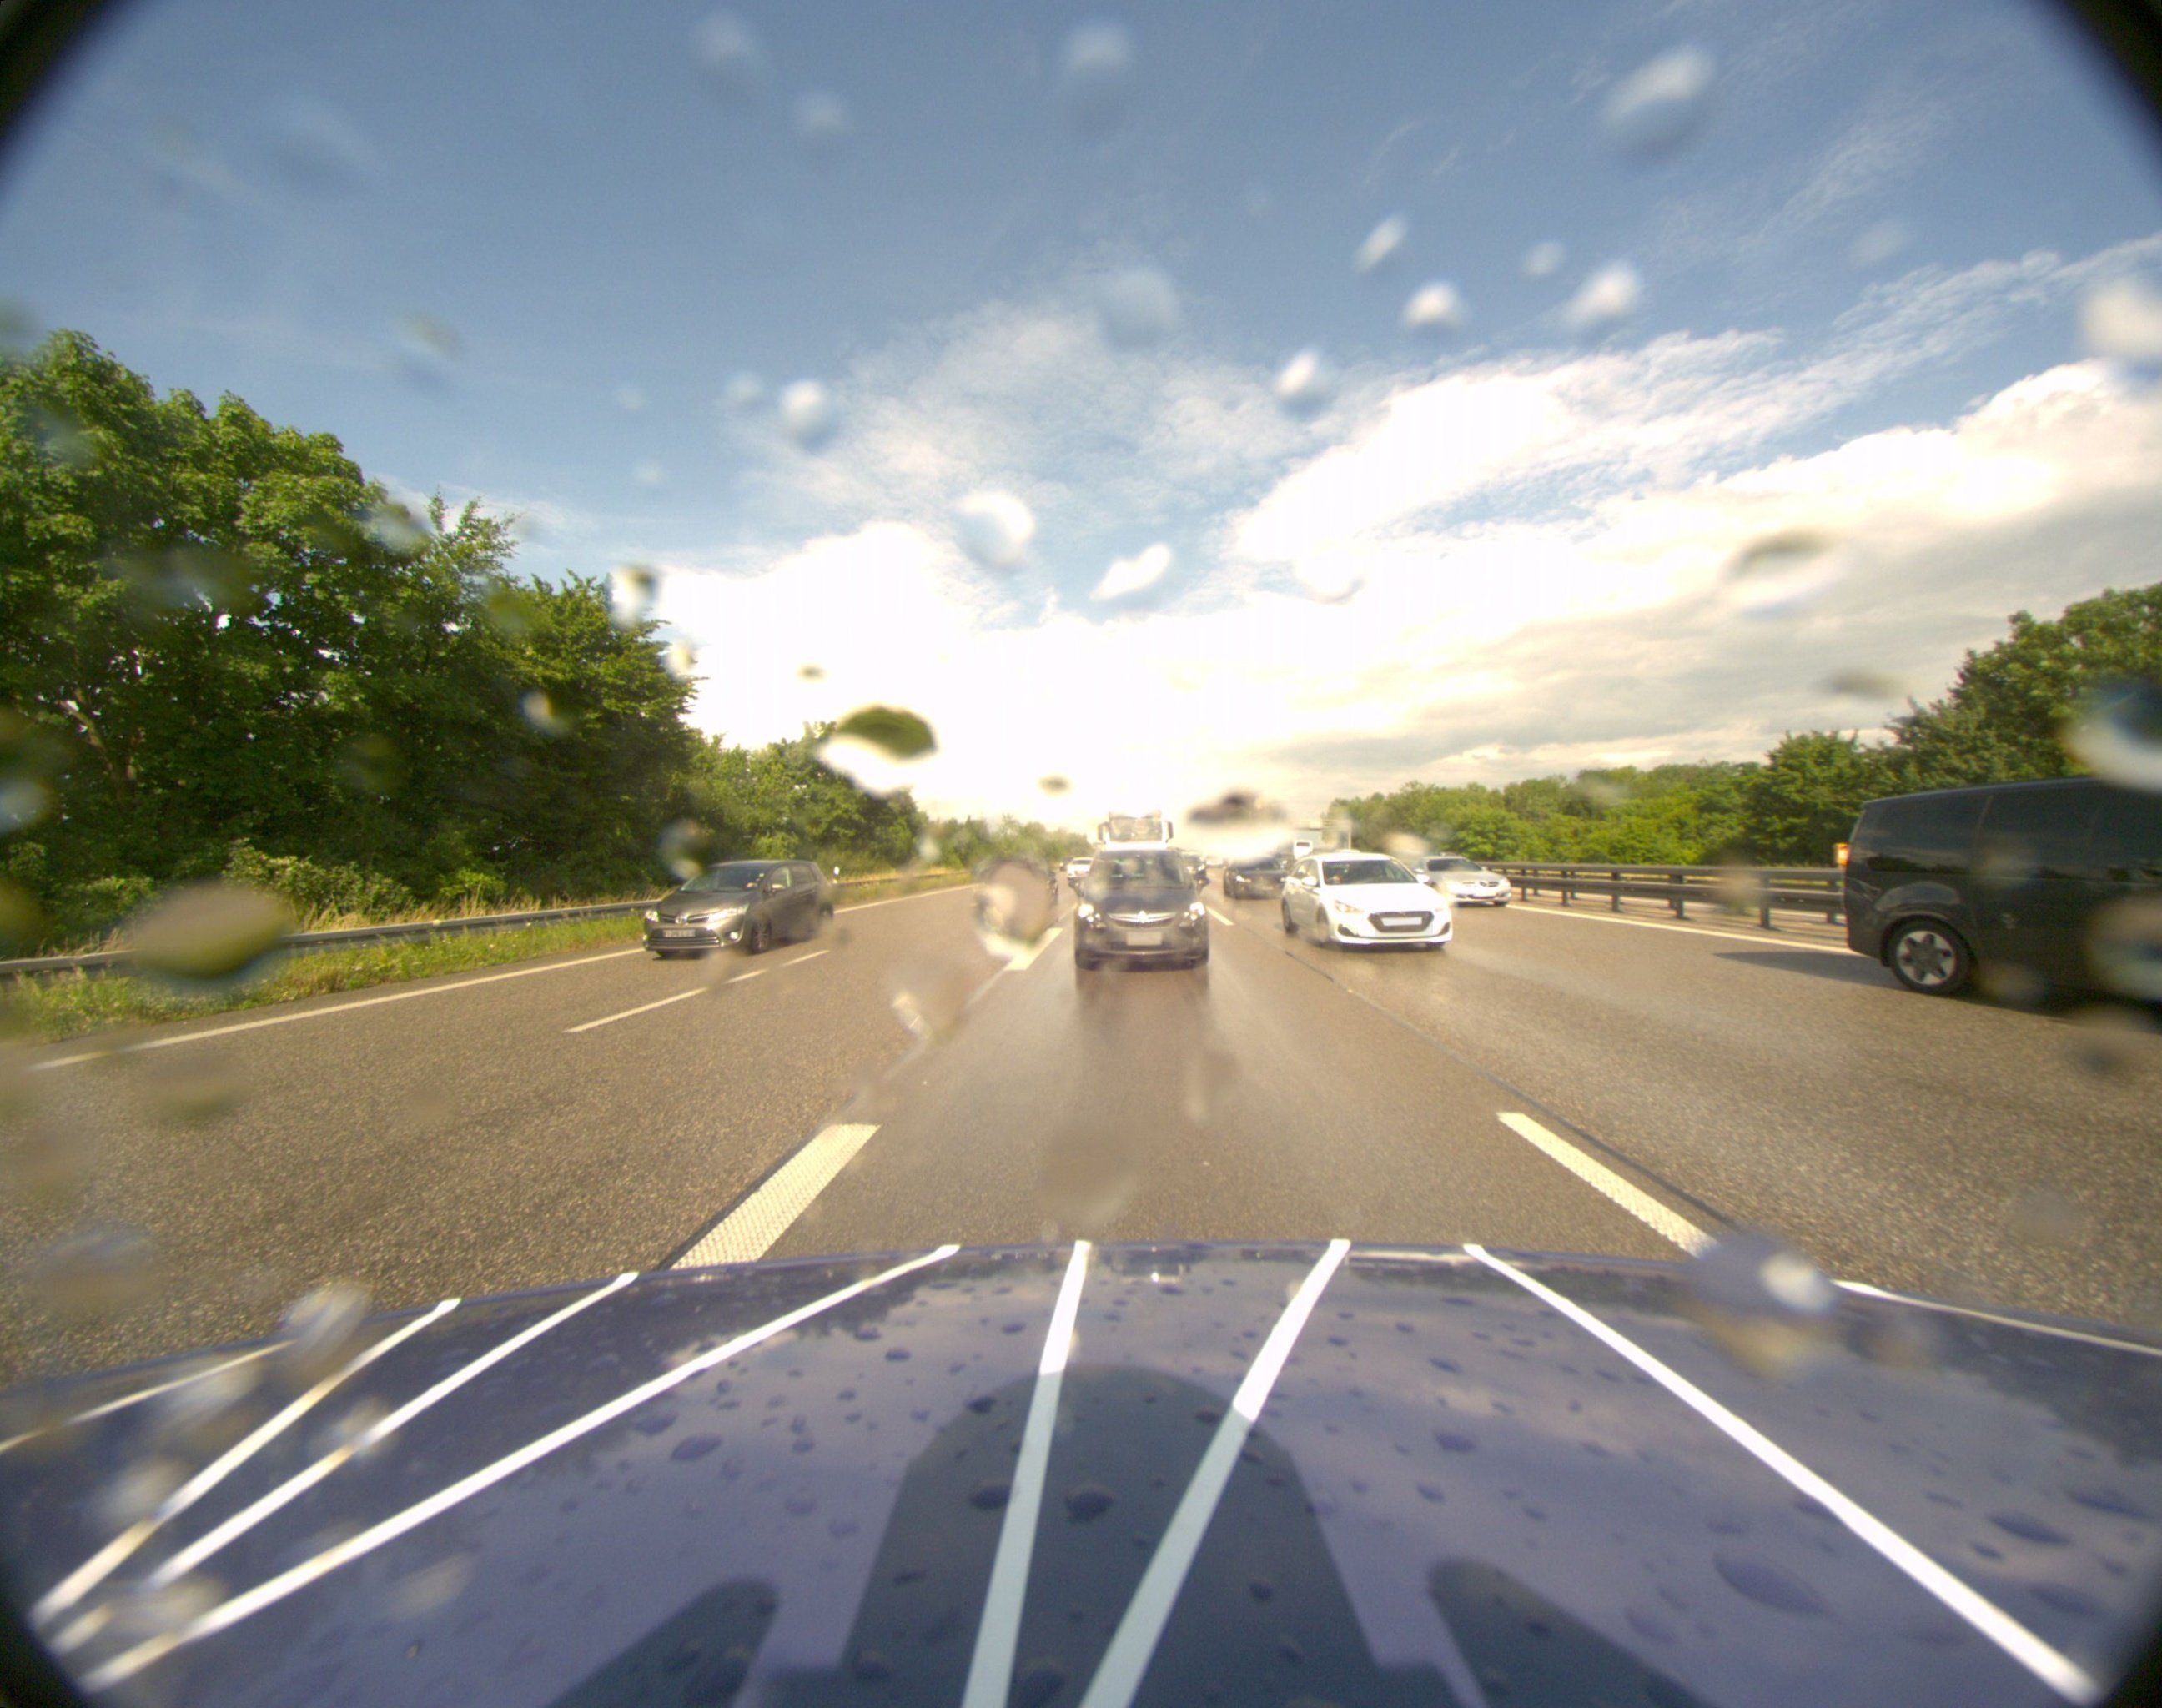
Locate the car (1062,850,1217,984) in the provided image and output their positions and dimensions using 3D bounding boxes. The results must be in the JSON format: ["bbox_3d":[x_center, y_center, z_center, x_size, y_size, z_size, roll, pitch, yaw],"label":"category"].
[{"bbox_3d":[0.834,0.775,11.644,1.883,1.638,4.397,-1,0,3],"label":"car"}]

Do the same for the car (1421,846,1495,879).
[{"bbox_3d":[19.460,0.413,39.462,1.998,1.619,4.000,0,1,2],"label":"car"}]

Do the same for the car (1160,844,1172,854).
[{"bbox_3d":[17.325,-1.033,154.953,1.998,1.687,4.000,-3,1,3],"label":"car"}]

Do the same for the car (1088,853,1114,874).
[{"bbox_3d":[1.702,0.774,62.650,1.998,1.572,4.654,-1,0,3],"label":"car"}]

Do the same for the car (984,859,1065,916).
[{"bbox_3d":[-1.572,0.918,22.556,1.853,1.455,4.256,-1,1,3],"label":"car"}]

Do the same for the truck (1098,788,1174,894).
[{"bbox_3d":[2.465,-0.548,33.613,2.816,4.083,7.447,-2,1,5],"label":"truck"}]

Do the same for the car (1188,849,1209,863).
[{"bbox_3d":[13.875,0.271,90.189,1.998,1.471,4.000,-3,1,3],"label":"car"}]

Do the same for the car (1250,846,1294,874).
[{"bbox_3d":[11.824,0.345,47.261,1.874,1.597,4.229,-2,0,4],"label":"car"}]

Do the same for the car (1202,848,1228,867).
[{"bbox_3d":[13.551,0.313,77.167,1.998,1.739,4.000,-3,1,3],"label":"car"}]

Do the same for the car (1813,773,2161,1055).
[{"bbox_3d":[8.655,0.406,5.398,1.998,2.002,5.270,-1,0,3],"label":"car"}]

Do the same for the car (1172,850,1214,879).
[{"bbox_3d":[6.589,0.564,45.066,1.998,1.477,4.000,-3,1,3],"label":"car"}]

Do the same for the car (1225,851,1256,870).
[{"bbox_3d":[12.342,0.488,59.049,1.771,1.371,4.000,-1,1,3],"label":"car"}]

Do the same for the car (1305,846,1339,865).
[{"bbox_3d":[20.857,0.103,65.830,1.885,1.619,3.831,0,1,2],"label":"car"}]

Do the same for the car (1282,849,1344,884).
[{"bbox_3d":[10.442,0.527,34.537,1.770,1.417,4.139,-2,1,4],"label":"car"}]

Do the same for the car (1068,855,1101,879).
[{"bbox_3d":[0.293,0.826,49.917,1.831,1.417,4.512,-2,1,4],"label":"car"}]

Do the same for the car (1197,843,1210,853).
[{"bbox_3d":[23.504,-1.157,146.017,1.998,1.768,4.462,-2,0,3],"label":"car"}]

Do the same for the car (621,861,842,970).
[{"bbox_3d":[-6.120,0.985,13.994,1.792,1.603,4.386,-1,0,3],"label":"car"}]

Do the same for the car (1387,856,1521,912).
[{"bbox_3d":[9.730,0.732,20.189,1.728,1.270,4.064,-1,0,3],"label":"car"}]

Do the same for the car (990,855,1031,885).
[{"bbox_3d":[-4.051,0.902,44.218,1.853,1.559,4.000,-1,1,3],"label":"car"}]

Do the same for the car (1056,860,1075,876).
[{"bbox_3d":[-1.700,1.552,86.493,1.825,1.611,4.364,-2,0,2],"label":"car"}]

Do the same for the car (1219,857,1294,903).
[{"bbox_3d":[5.798,0.814,25.561,1.728,1.330,4.288,-1,0,3],"label":"car"}]

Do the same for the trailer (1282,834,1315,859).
[{"bbox_3d":[31.688,-1.082,111.158,2.736,3.362,9.563,-1,0,4],"label":"trailer"}]

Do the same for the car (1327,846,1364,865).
[{"bbox_3d":[25.050,0.113,72.069,1.998,1.723,4.946,-1,0,3],"label":"car"}]

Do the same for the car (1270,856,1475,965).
[{"bbox_3d":[4.588,0.788,12.787,1.886,1.446,4.548,-1,0,3],"label":"car"}]
